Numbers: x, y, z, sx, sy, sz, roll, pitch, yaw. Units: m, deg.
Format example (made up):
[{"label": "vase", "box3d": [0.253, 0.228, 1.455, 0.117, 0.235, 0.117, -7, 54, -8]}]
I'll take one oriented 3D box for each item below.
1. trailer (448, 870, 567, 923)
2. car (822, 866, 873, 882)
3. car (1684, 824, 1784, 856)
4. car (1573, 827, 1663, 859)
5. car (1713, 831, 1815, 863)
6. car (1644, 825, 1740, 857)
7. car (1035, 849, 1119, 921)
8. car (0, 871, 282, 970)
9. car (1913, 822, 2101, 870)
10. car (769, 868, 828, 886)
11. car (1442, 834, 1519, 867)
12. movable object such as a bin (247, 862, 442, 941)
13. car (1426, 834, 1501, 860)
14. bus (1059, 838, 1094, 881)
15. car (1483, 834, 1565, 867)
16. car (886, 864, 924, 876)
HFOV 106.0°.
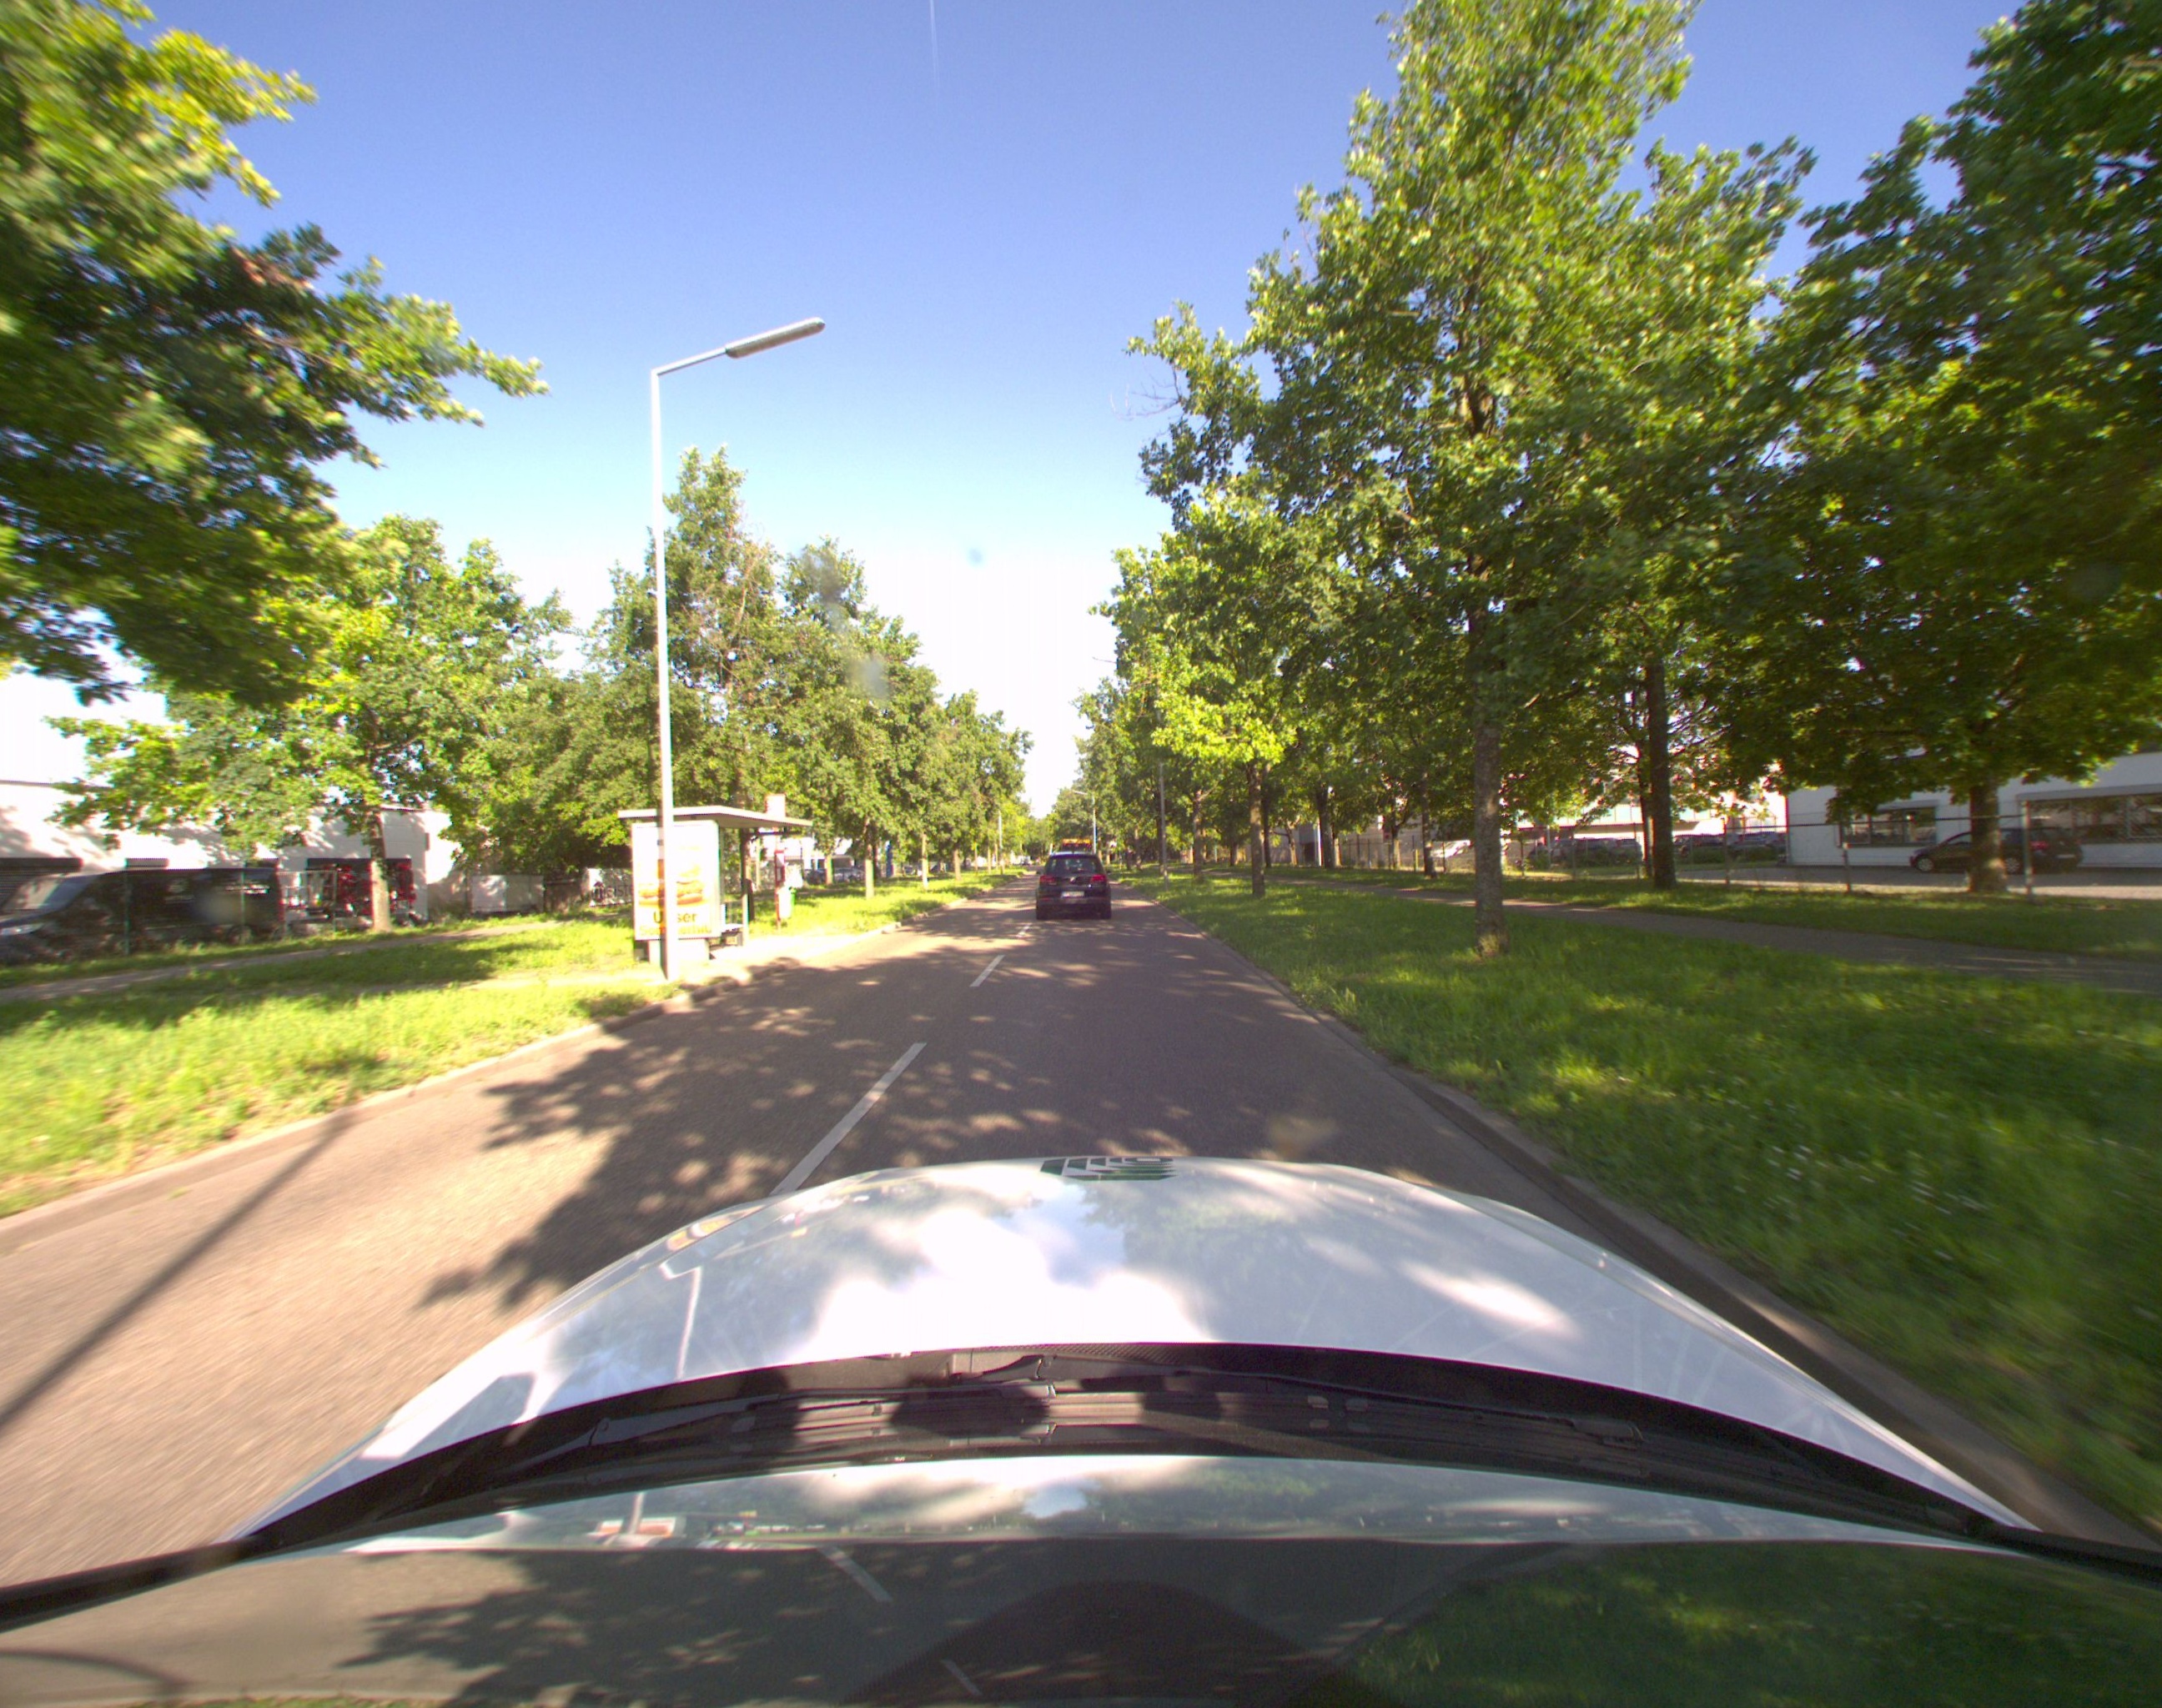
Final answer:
[{"label": "trailer", "box3d": [-23.550, 1.696, 33.612, 2.094, 1.914, 3.742, -2, 0, 2]}, {"label": "car", "box3d": [-22.317, 1.887, 77.959, 4.187, 1.288, 1.940, -2, 0, -2]}, {"label": "car", "box3d": [38.704, -0.768, 48.432, 2.178, 1.744, 4.639, -2, 0, -1]}, {"label": "car", "box3d": [31.832, -0.610, 48.458, 2.178, 1.744, 4.639, -2, 0, -1]}, {"label": "car", "box3d": [40.969, -0.409, 49.043, 2.178, 1.744, 4.639, -2, 0, -1]}, {"label": "car", "box3d": [36.271, -0.751, 48.516, 2.178, 1.744, 4.639, -2, 0, -1]}, {"label": "car", "box3d": [-0.081, 0.718, 21.184, 1.930, 1.656, 4.426, -1, 0, 0]}, {"label": "car", "box3d": [-23.736, 1.513, 20.178, 2.028, 1.988, 5.807, -2, 0, 1]}, {"label": "car", "box3d": [29.773, -0.227, 26.370, 1.760, 1.383, 3.765, -2, 0, -2]}, {"label": "car", "box3d": [-23.260, 1.858, 67.198, 4.187, 1.288, 1.940, -2, 0, -2]}, {"label": "car", "box3d": [23.457, -0.201, 48.029, 2.178, 1.744, 4.639, -2, 0, -1]}, {"label": "movable object such as a bin", "box3d": [-23.598, 1.445, 26.392, 2.094, 2.217, 4.463, -2, 0, 2]}, {"label": "car", "box3d": [28.898, -0.495, 61.563, 4.620, 1.744, 2.187, -2, 0, -6]}, {"label": "bus", "box3d": [-0.262, 0.432, 73.061, 2.755, 3.456, 11.212, -2, 0, 1]}, {"label": "car", "box3d": [25.933, -0.180, 47.873, 2.178, 1.744, 4.639, -2, 0, -1]}, {"label": "car", "box3d": [-21.707, 1.932, 100.502, 4.178, 1.321, 1.944, -2, 0, 5]}]
